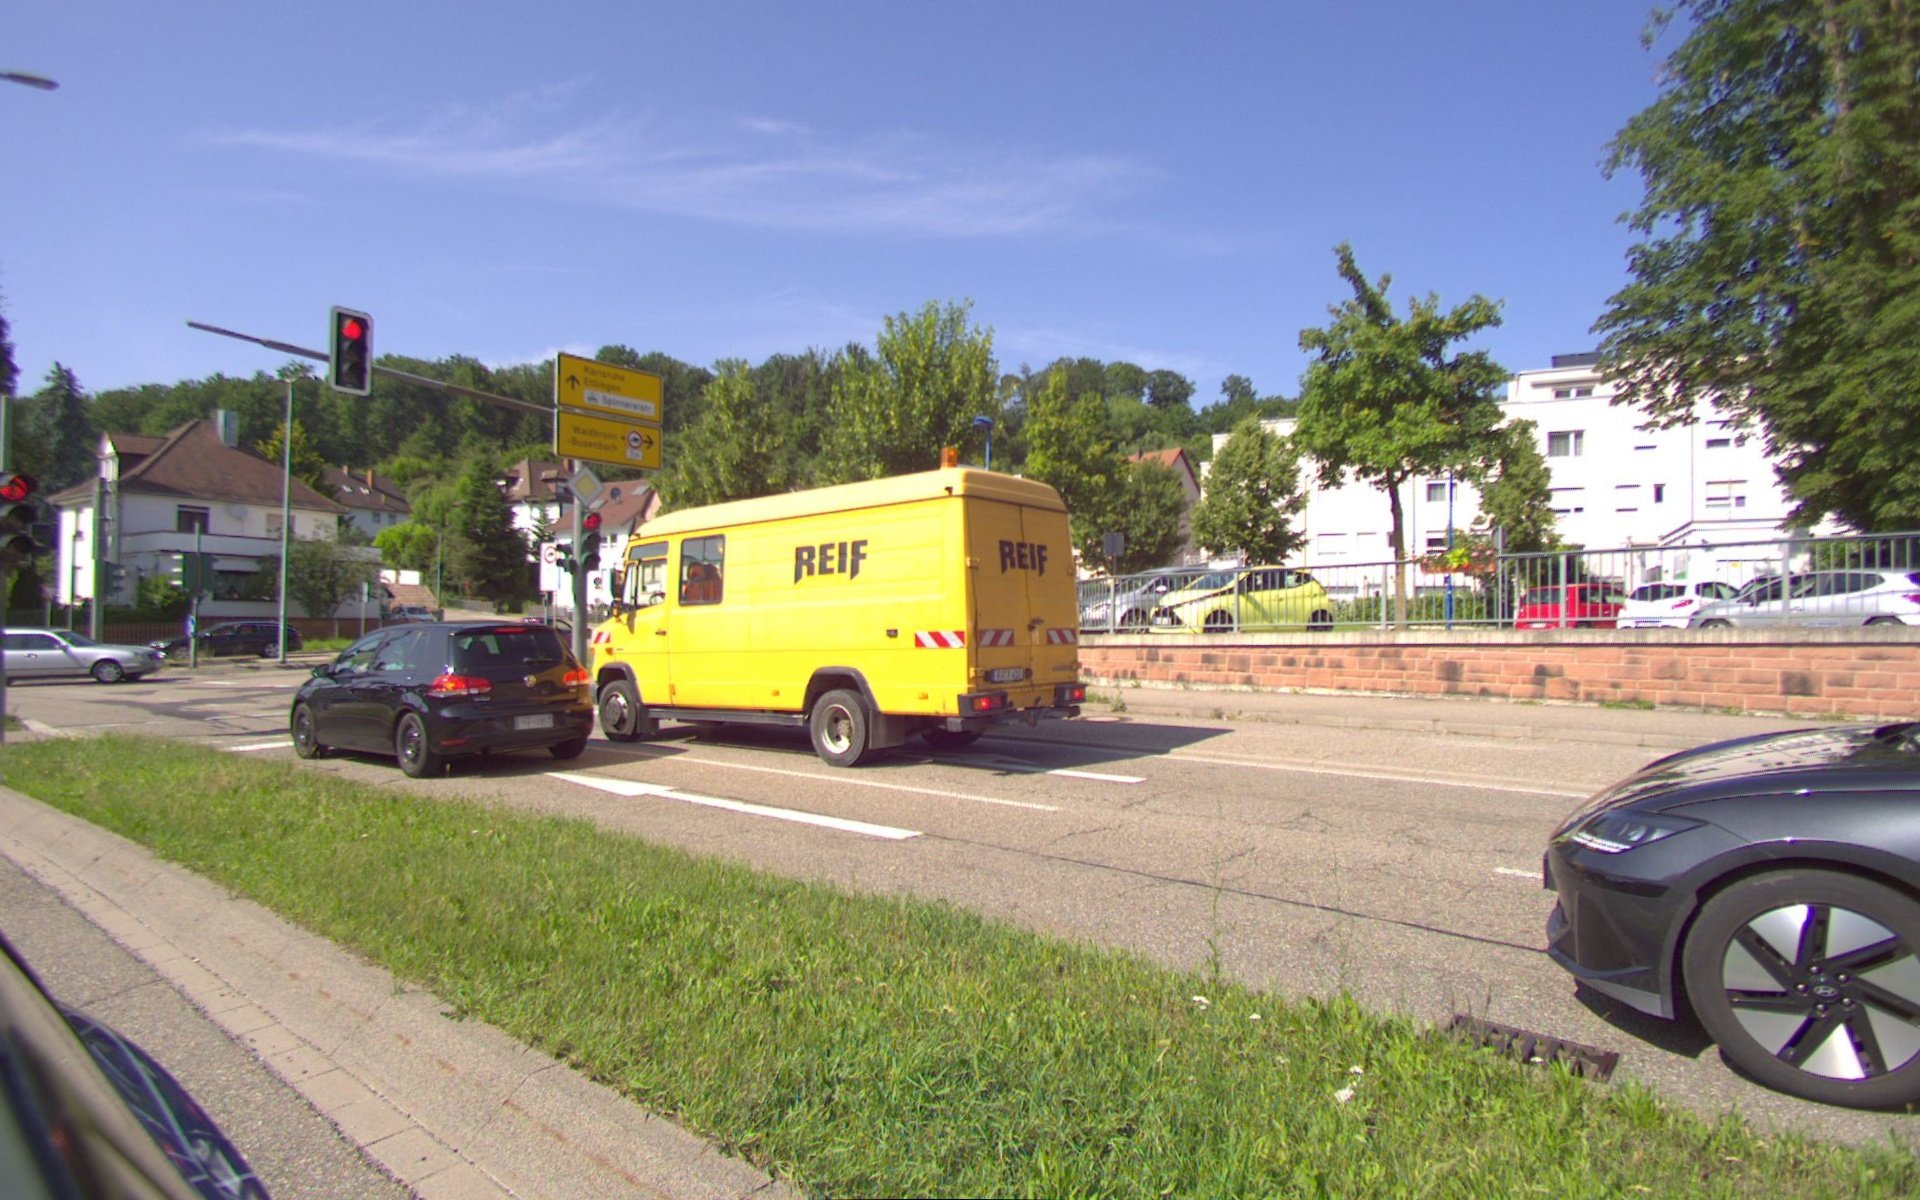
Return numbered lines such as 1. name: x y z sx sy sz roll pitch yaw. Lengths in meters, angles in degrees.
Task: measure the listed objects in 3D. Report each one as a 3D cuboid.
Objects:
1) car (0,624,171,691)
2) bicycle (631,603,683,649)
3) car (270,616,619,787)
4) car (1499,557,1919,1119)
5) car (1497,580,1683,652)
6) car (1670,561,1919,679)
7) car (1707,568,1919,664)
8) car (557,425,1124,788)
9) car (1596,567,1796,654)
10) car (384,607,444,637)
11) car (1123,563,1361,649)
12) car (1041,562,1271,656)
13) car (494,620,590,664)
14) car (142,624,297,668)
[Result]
1. car: -23.390 1.476 25.903 4.668 1.515 1.987 -2 -1 -22
2. bicycle: -9.311 0.809 31.084 1.756 1.265 0.612 -5 1 42
3. car: -5.506 0.927 10.639 4.037 1.474 1.729 -2 -2 38
4. car: 4.149 0.600 2.520 4.710 1.482 1.774 -2 -1 38
5. car: 15.757 0.387 25.334 3.931 1.571 1.920 -2 -1 -21
6. car: 14.880 0.338 17.352 1.888 1.803 4.013 0 -1 -21
7. car: 17.350 0.280 20.197 3.931 1.684 2.006 -2 -1 -19
8. car: -1.627 0.096 11.409 6.456 3.033 2.444 -1 0 38
9. car: 16.789 0.230 23.102 3.931 1.714 1.920 -3 -1 -24
10. car: -33.079 1.357 61.264 3.999 1.649 1.914 -3 -1 42
11. car: 5.328 0.099 19.223 3.931 1.392 1.920 -2 0 -21
12. car: 4.170 0.159 21.670 4.339 1.709 2.064 -3 1 -21
13. car: -16.056 1.580 39.062 1.643 1.545 3.945 -2 -1 8
14. car: -28.902 1.768 39.592 4.679 1.495 1.983 -1 -1 -43
